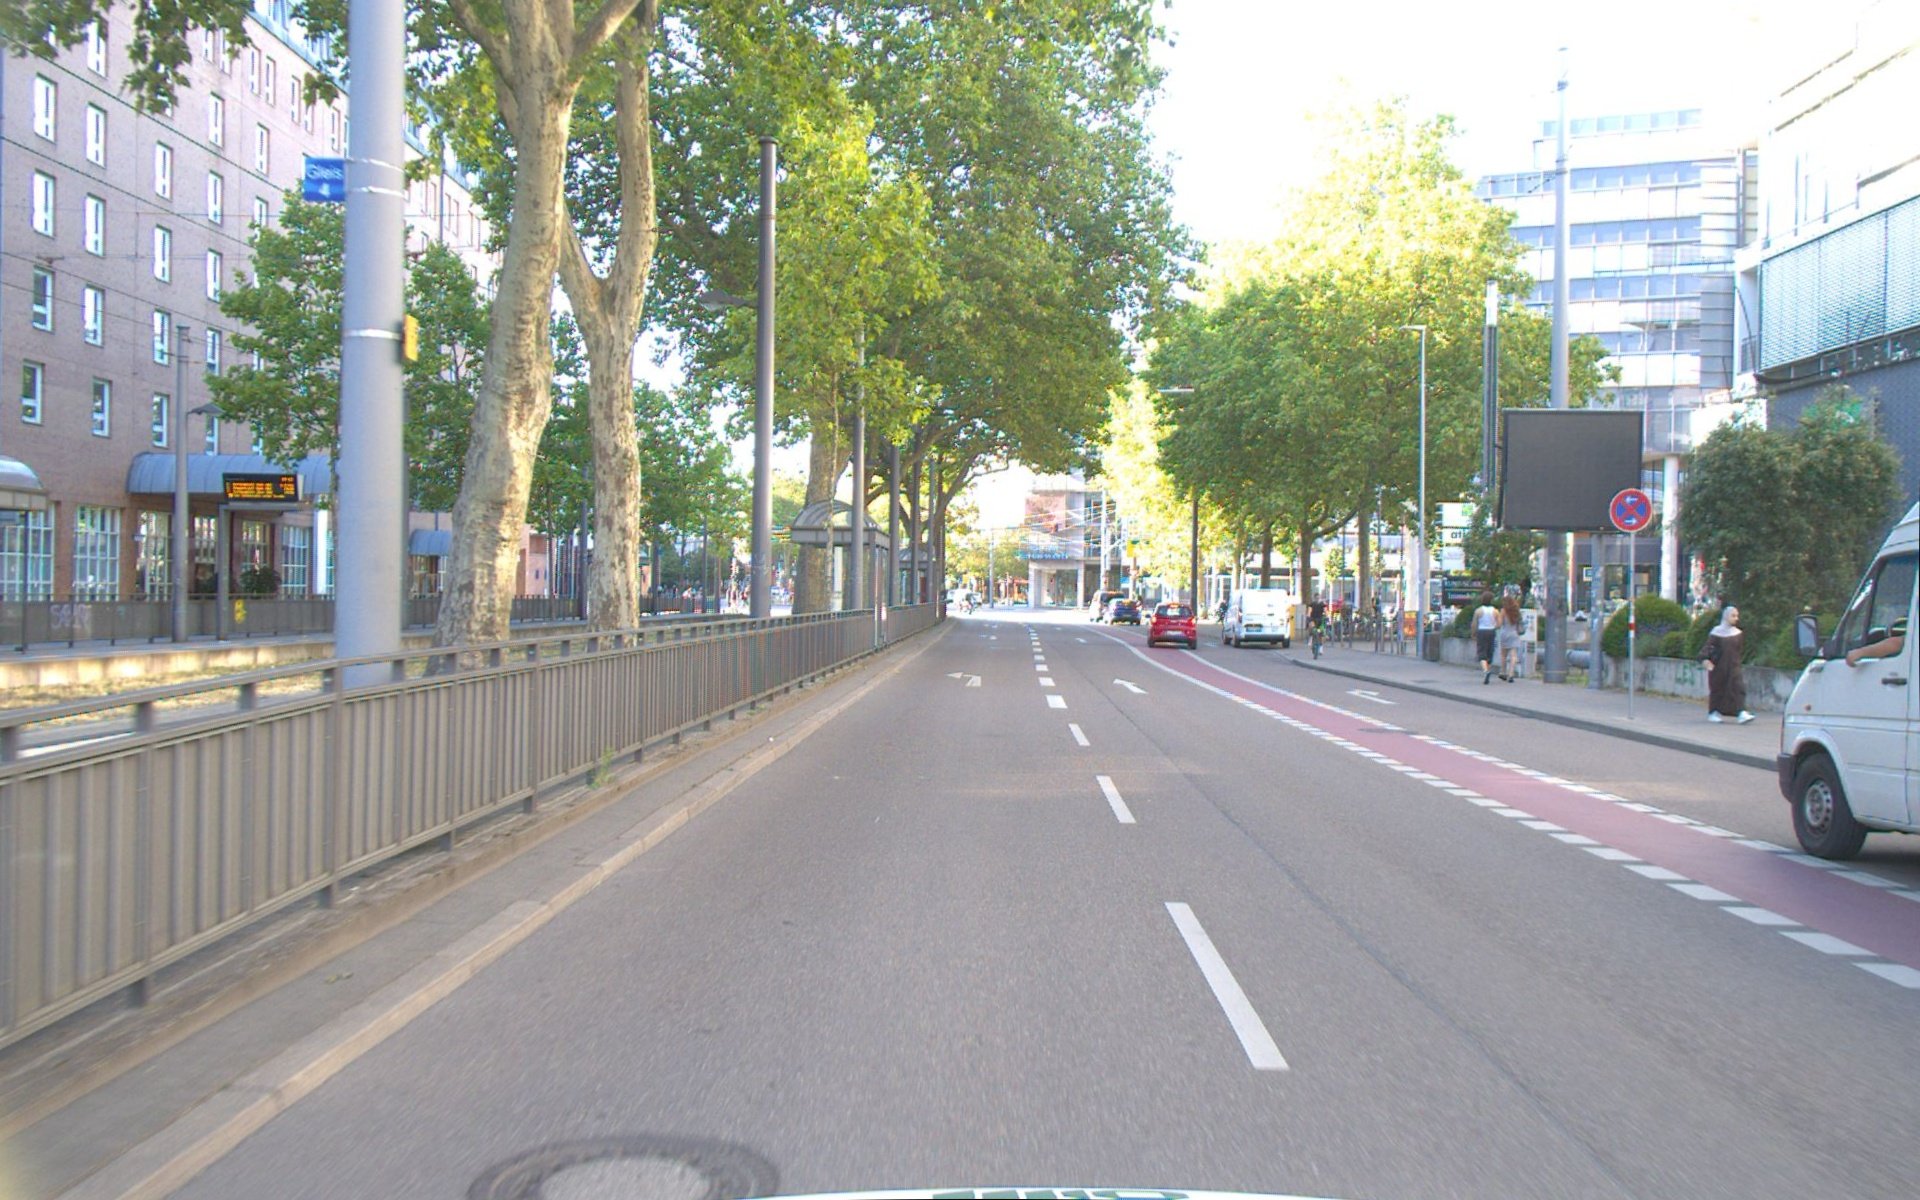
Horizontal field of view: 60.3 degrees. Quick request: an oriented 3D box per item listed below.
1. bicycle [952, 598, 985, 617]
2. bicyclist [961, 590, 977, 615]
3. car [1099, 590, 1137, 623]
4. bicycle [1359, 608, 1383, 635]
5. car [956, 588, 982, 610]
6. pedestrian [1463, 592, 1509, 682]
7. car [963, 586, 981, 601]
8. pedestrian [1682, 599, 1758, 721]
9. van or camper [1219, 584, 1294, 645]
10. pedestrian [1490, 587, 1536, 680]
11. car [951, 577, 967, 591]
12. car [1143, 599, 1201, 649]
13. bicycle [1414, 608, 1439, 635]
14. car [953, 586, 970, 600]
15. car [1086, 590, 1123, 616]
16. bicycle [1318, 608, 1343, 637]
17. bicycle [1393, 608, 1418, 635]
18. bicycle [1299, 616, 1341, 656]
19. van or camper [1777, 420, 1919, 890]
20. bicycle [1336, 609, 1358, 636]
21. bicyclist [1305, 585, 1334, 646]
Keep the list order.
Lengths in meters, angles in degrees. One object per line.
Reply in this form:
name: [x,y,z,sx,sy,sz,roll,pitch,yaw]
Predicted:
bicycle: [0.573,0.490,108.613,1.981,1.235,0.835,1,0,-19]
bicyclist: [0.608,0.159,108.610,0.823,1.619,0.835,1,0,-18]
car: [9.131,0.357,95.856,1.603,1.831,3.326,0,1,-5]
bicycle: [15.866,0.832,63.800,0.493,0.999,1.768,-1,0,1]
car: [0.697,-0.093,126.185,1.742,1.561,3.510,1,1,-4]
pedestrian: [10.494,0.722,33.010,0.553,1.732,0.907,-3,0,-1]
car: [1.336,-0.763,183.665,1.742,1.561,3.409,1,1,-4]
pedestrian: [10.482,0.812,22.830,0.629,1.607,0.723,-3,0,-2]
van or camper: [10.412,0.472,58.411,1.952,2.024,4.746,1,0,2]
pedestrian: [11.089,0.659,33.188,0.529,1.827,0.907,-3,0,-1]
car: [-0.102,-1.879,196.293,1.742,1.616,3.409,1,1,-4]
car: [7.132,0.779,55.952,1.580,1.561,3.412,1,1,1]
bicycle: [17.958,0.809,63.719,0.493,0.999,1.768,-1,0,1]
car: [0.183,-0.846,190.279,1.742,1.561,3.409,1,1,-4]
car: [8.900,0.177,101.828,1.742,1.561,3.510,1,1,-4]
bicycle: [14.285,0.851,63.795,0.574,1.086,1.900,-1,0,1]
bicycle: [17.179,0.836,63.808,0.493,0.999,1.768,-1,0,1]
bicycle: [10.398,1.017,47.850,0.669,1.086,2.469,-1,0,1]
van or camper: [6.580,0.359,8.287,1.928,2.763,6.306,1,1,1]
bicycle: [14.913,0.854,63.802,0.458,0.999,1.768,-1,0,1]
bicyclist: [10.411,0.441,47.943,0.636,1.731,0.952,1,0,0]
